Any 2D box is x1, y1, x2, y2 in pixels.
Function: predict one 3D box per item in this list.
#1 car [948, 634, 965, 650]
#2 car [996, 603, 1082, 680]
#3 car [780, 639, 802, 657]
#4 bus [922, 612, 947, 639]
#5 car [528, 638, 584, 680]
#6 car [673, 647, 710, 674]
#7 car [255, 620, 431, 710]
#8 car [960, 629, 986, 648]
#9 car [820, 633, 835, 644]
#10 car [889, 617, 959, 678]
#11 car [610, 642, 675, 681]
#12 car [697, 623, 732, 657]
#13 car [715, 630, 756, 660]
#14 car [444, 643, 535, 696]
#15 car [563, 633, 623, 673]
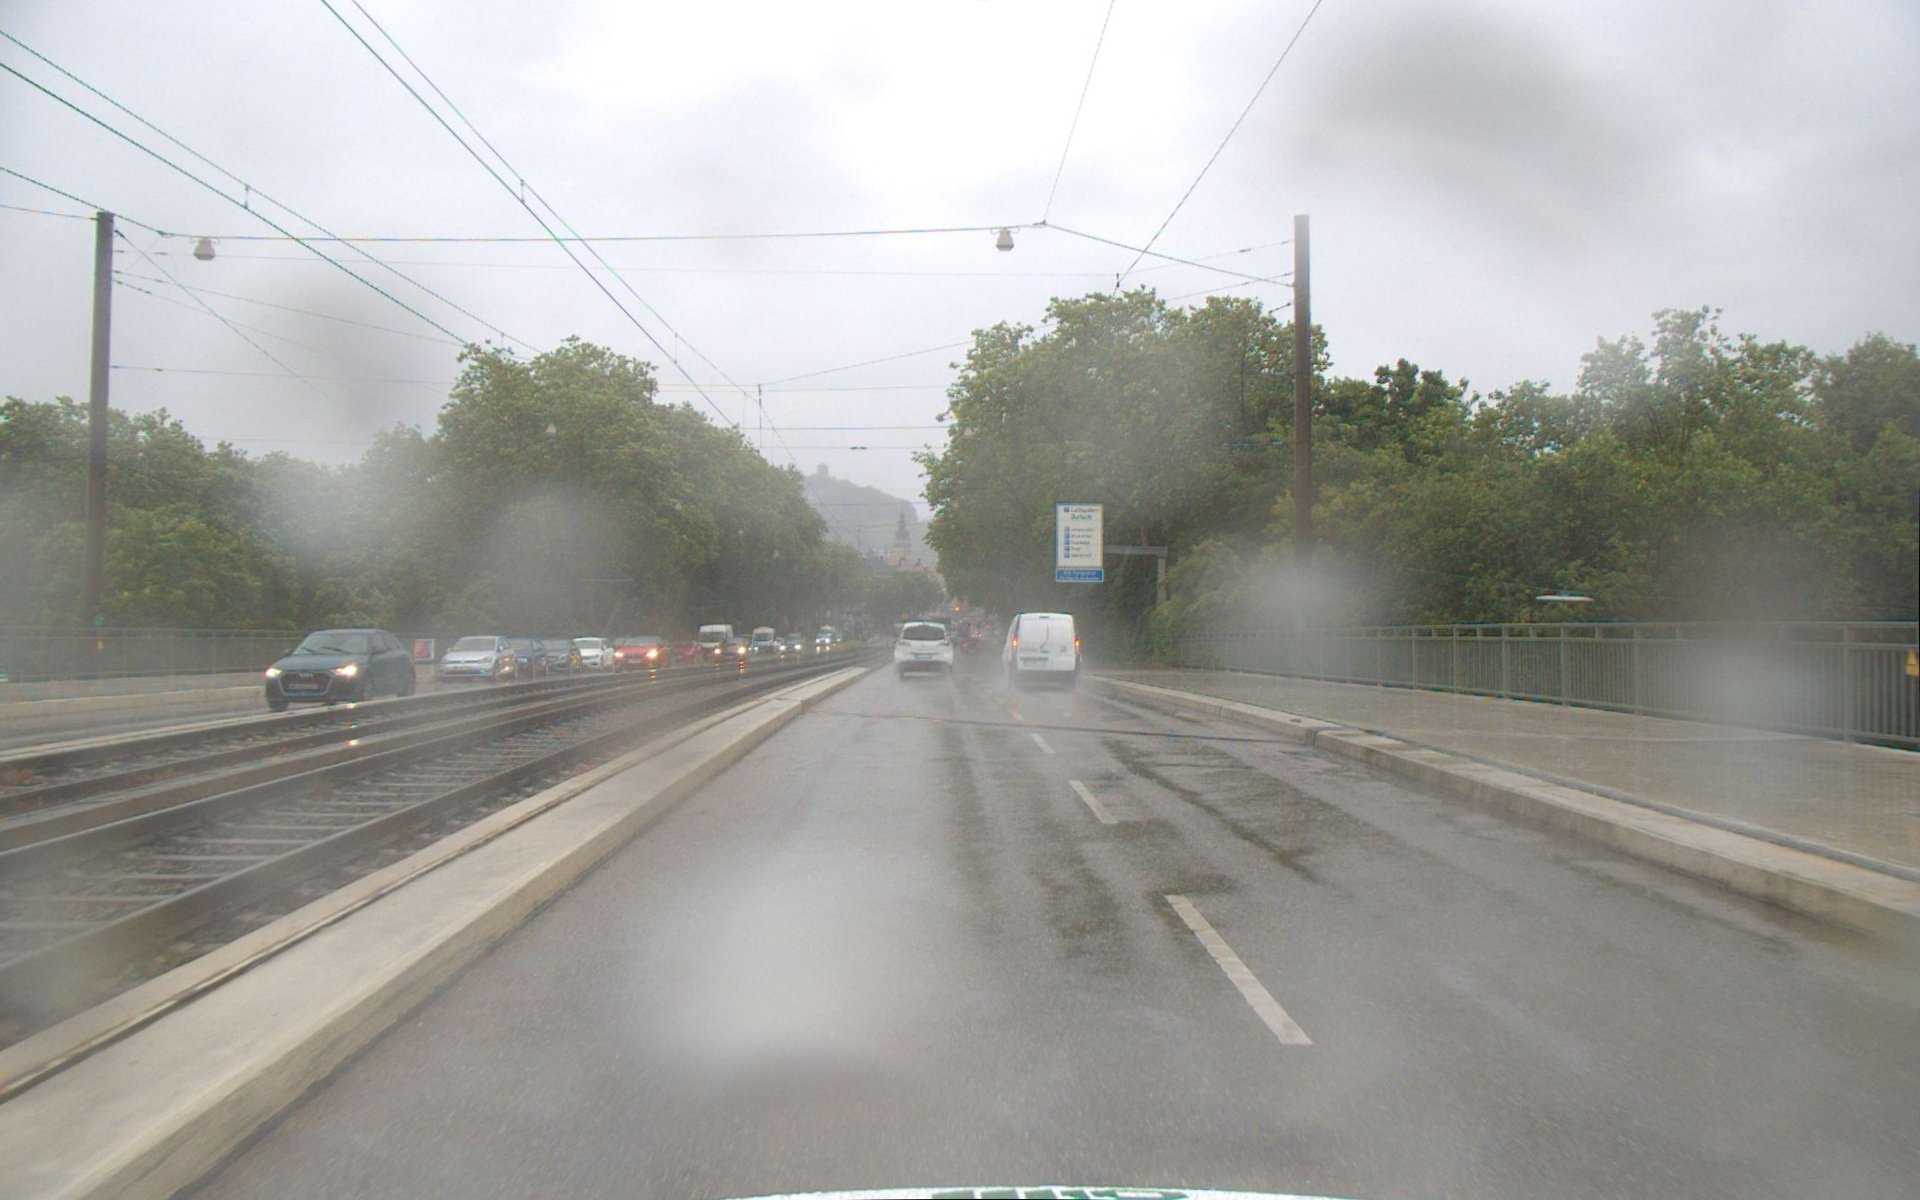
[{"bbox_3d":[-0.423,5.316,210.464,1.952,1.859,4.000,1,0,1],"label":"car"},{"bbox_3d":[1.888,0.982,40.520,1.952,1.756,4.000,1,0,1],"label":"car"},{"bbox_3d":[-15.098,4.303,148.102,1.475,1.425,4.706,-2,0,-1],"label":"car"},{"bbox_3d":[-3.837,3.880,252.139,3.320,3.904,9.739,1,0,1],"label":"bus"},{"bbox_3d":[-15.636,2.264,64.174,1.477,1.425,4.403,-2,0,-5],"label":"car"},{"bbox_3d":[-16.092,3.610,99.298,1.577,1.467,4.261,-2,0,-1],"label":"car"},{"bbox_3d":[-11.400,1.153,30.863,1.763,1.508,4.083,1,0,-1],"label":"car"},{"bbox_3d":[1.041,3.023,129.870,1.952,1.344,4.000,1,0,1],"label":"car"},{"bbox_3d":[-17.669,5.103,220.973,1.768,1.374,4.262,-2,0,-1],"label":"car"},{"bbox_3d":[-1.054,1.429,50.826,1.952,1.747,4.000,1,0,1],"label":"car"},{"bbox_3d":[-12.305,2.376,64.367,1.763,1.339,4.083,1,0,-1],"label":"car"},{"bbox_3d":[-16.991,2.728,114.808,1.706,2.207,5.811,-2,0,-2],"label":"car"},{"bbox_3d":[-12.731,2.529,93.965,1.779,1.392,4.265,1,3,-1],"label":"car"},{"bbox_3d":[-15.246,2.225,53.802,1.826,1.481,4.318,-2,0,-2],"label":"car"},{"bbox_3d":[-15.584,2.223,70.436,1.476,1.425,4.891,-5,0,-2],"label":"car"}]
